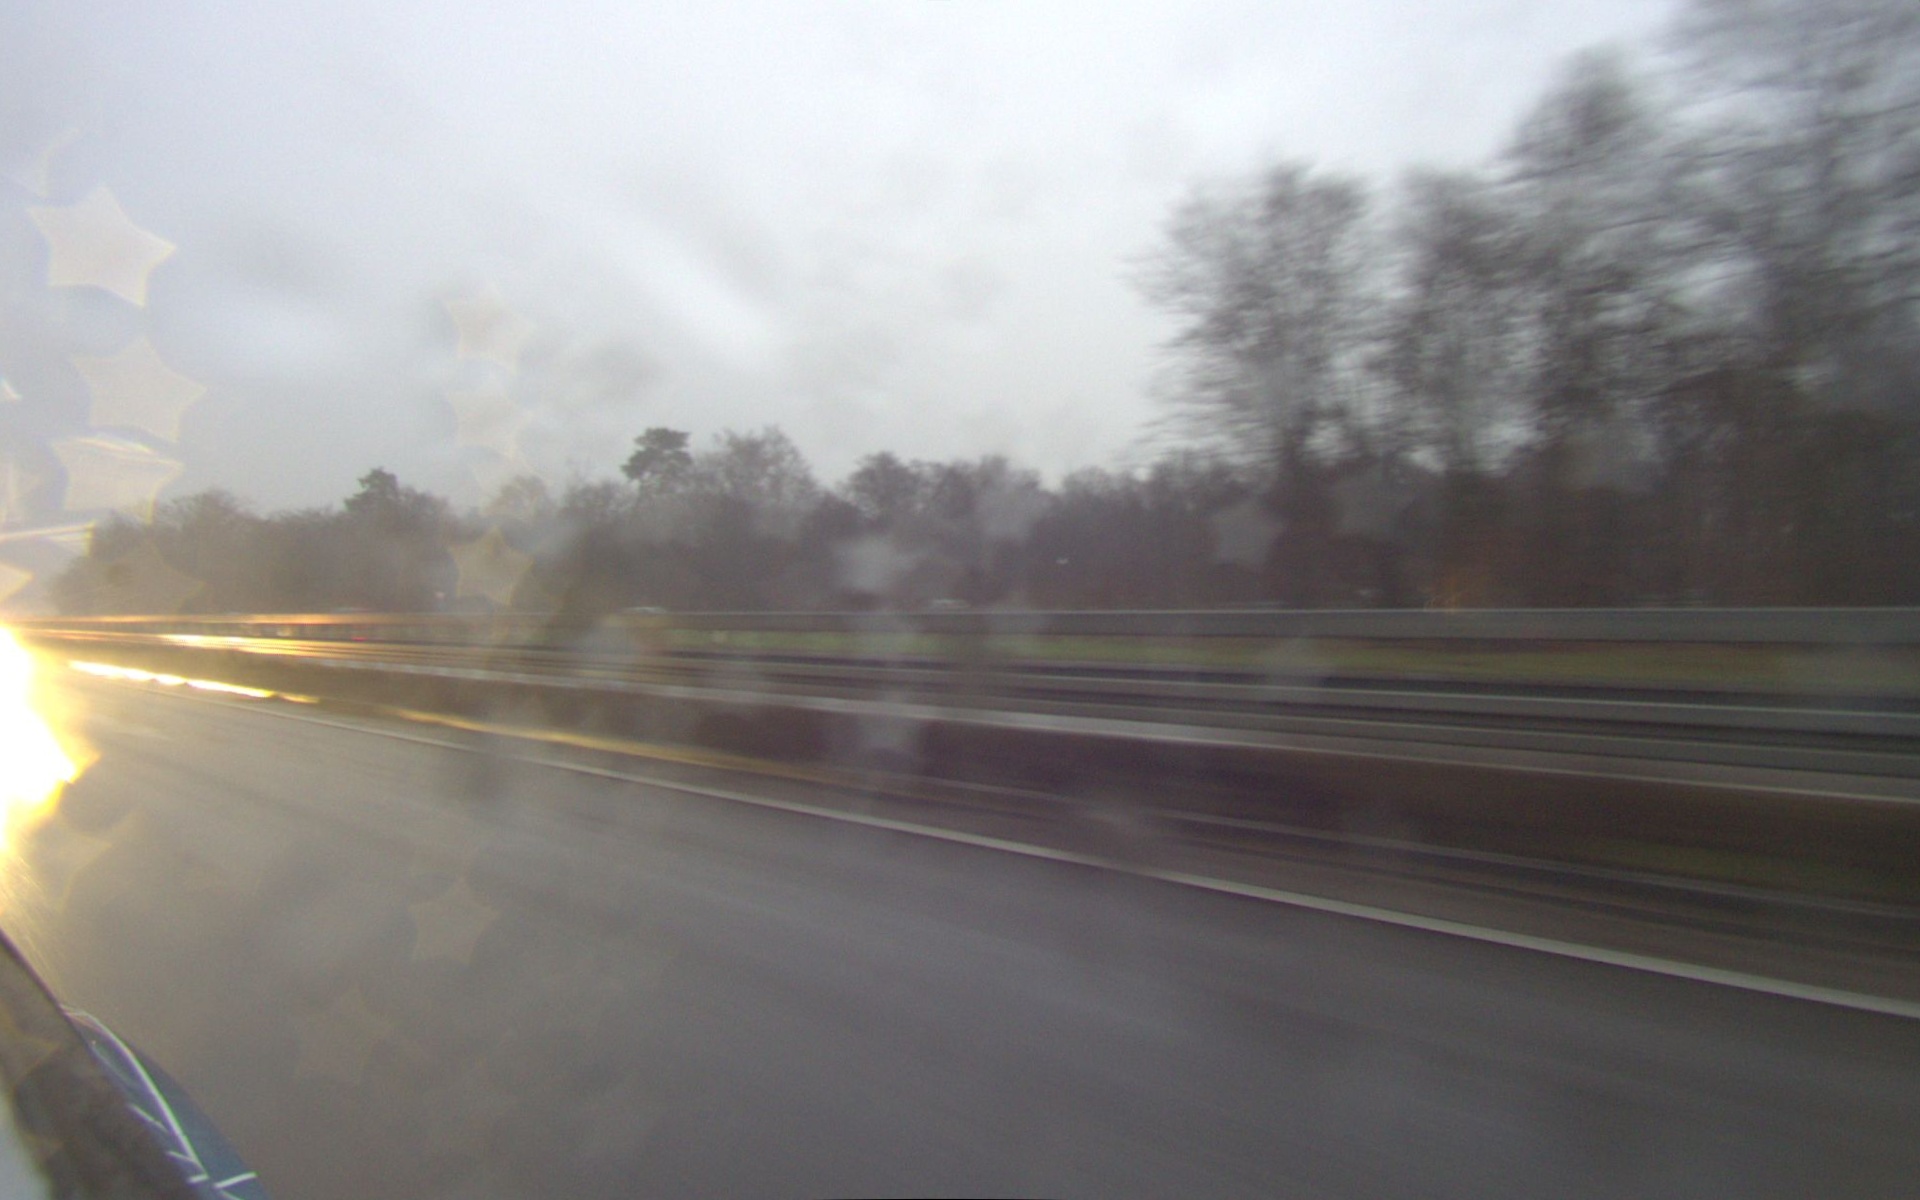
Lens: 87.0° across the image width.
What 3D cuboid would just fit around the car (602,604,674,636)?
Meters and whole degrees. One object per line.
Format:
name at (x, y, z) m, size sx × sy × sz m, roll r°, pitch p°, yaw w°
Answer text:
car at (-21.042, 1.285, 66.244) m, size 4.157 × 2.029 × 1.775 m, roll -1°, pitch 0°, yaw 5°

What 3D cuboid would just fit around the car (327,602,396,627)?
car at (-42.750, 1.014, 72.316) m, size 3.959 × 1.724 × 1.992 m, roll -1°, pitch 0°, yaw 13°
